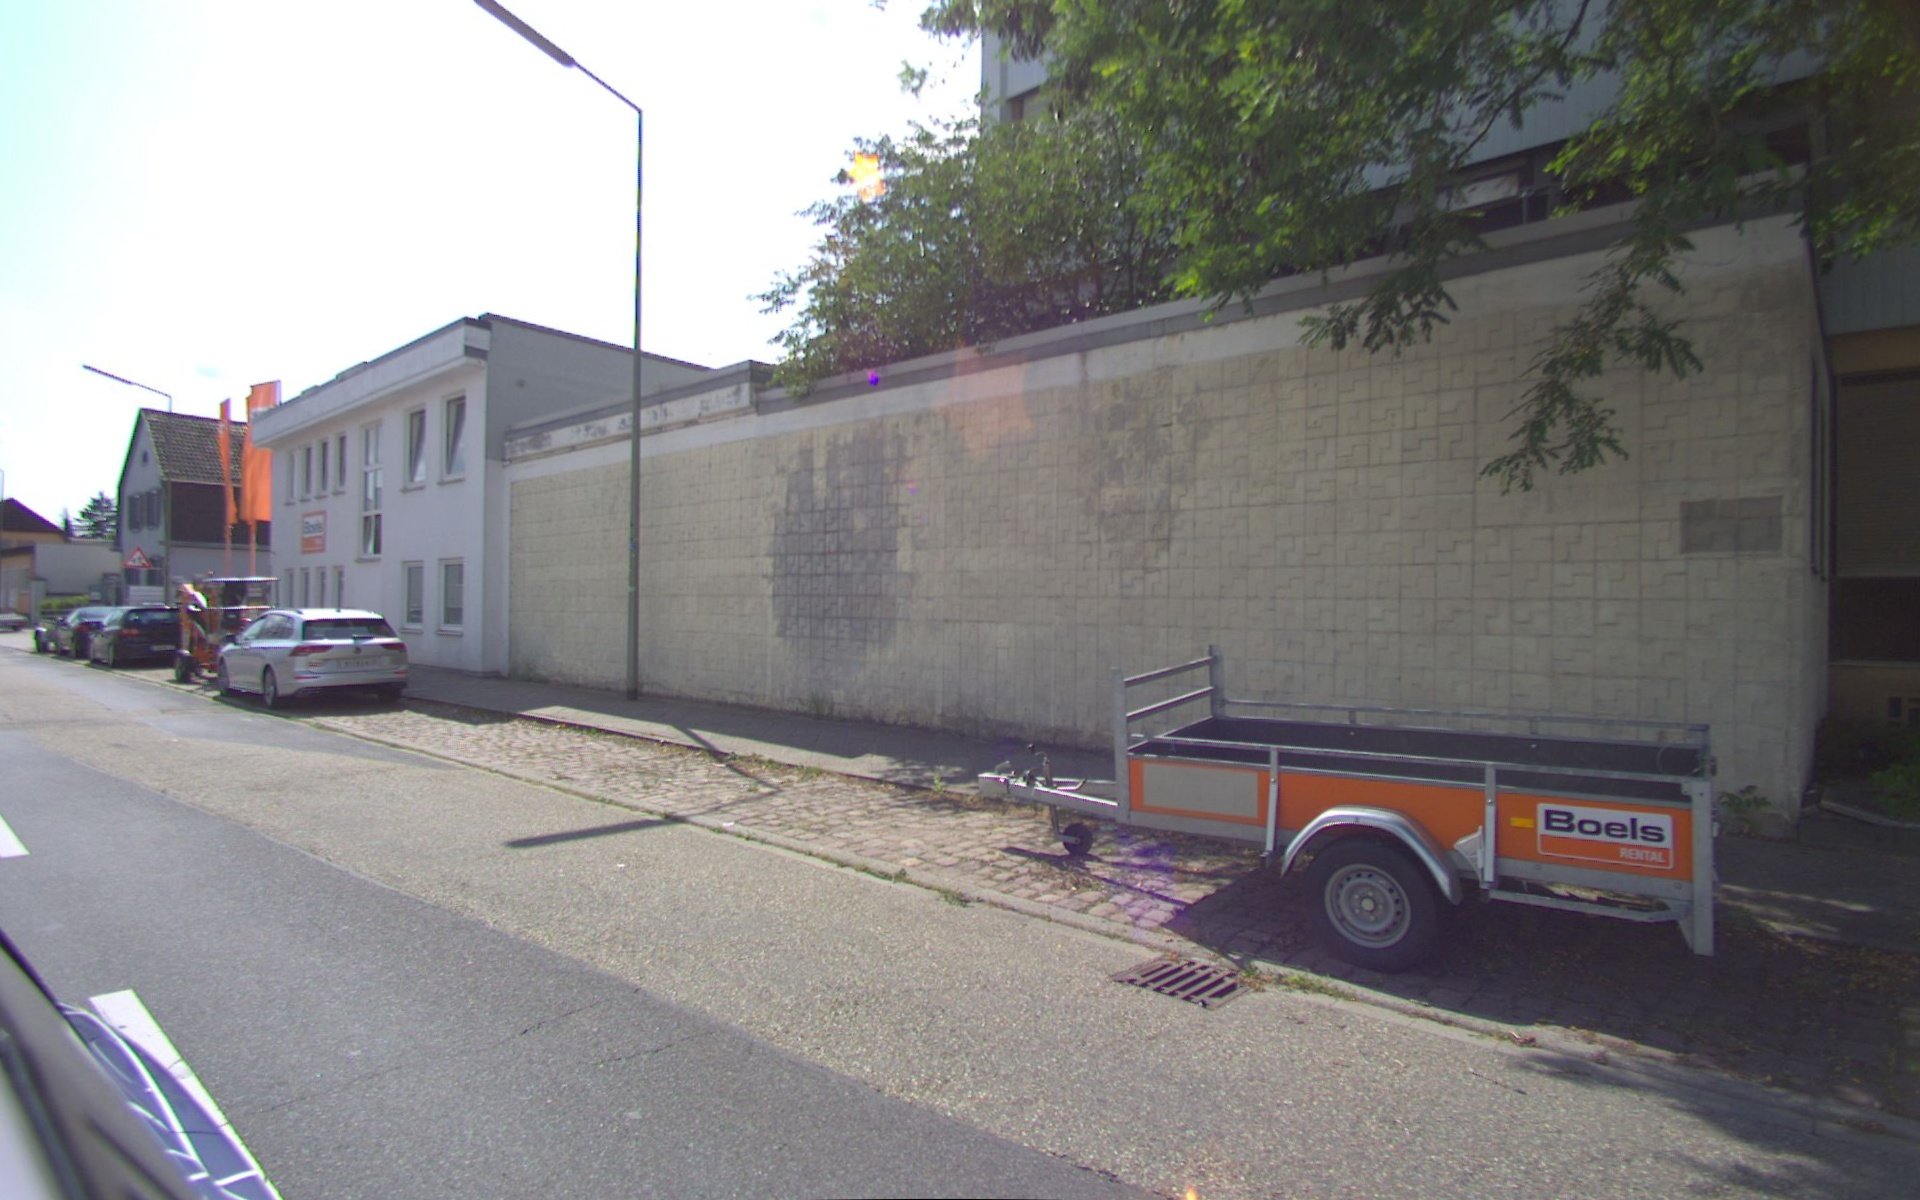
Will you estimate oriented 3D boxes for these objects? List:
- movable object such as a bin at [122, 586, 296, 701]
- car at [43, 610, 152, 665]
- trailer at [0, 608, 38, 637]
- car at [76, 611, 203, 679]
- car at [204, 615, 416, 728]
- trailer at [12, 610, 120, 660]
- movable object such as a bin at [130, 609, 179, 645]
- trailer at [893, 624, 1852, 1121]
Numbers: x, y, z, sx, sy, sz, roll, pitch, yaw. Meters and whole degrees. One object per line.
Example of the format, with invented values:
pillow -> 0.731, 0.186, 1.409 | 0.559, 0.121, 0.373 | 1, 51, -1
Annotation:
movable object such as a bin -> -14.745, 0.770, 19.746 | 5.135, 1.933, 1.597 | -1, 2, 41
car -> -23.824, 0.979, 27.914 | 3.881, 1.387, 1.656 | 0, 0, 40
trailer -> -41.463, 0.943, 43.201 | 6.049, 1.173, 2.426 | 0, 0, 41
car -> -19.873, 1.015, 24.447 | 4.221, 1.466, 1.656 | 0, 0, 41
car -> -10.297, 1.005, 15.889 | 4.512, 1.466, 1.655 | 0, 0, 42
trailer -> -27.543, 1.018, 31.120 | 5.047, 1.387, 1.749 | 0, 0, 40
movable object such as a bin -> -33.299, 1.118, 41.840 | 1.186, 1.438, 1.304 | 0, -2, 36
trailer -> 1.798, 0.921, 5.332 | 4.334, 1.450, 1.748 | 0, 1, 42
